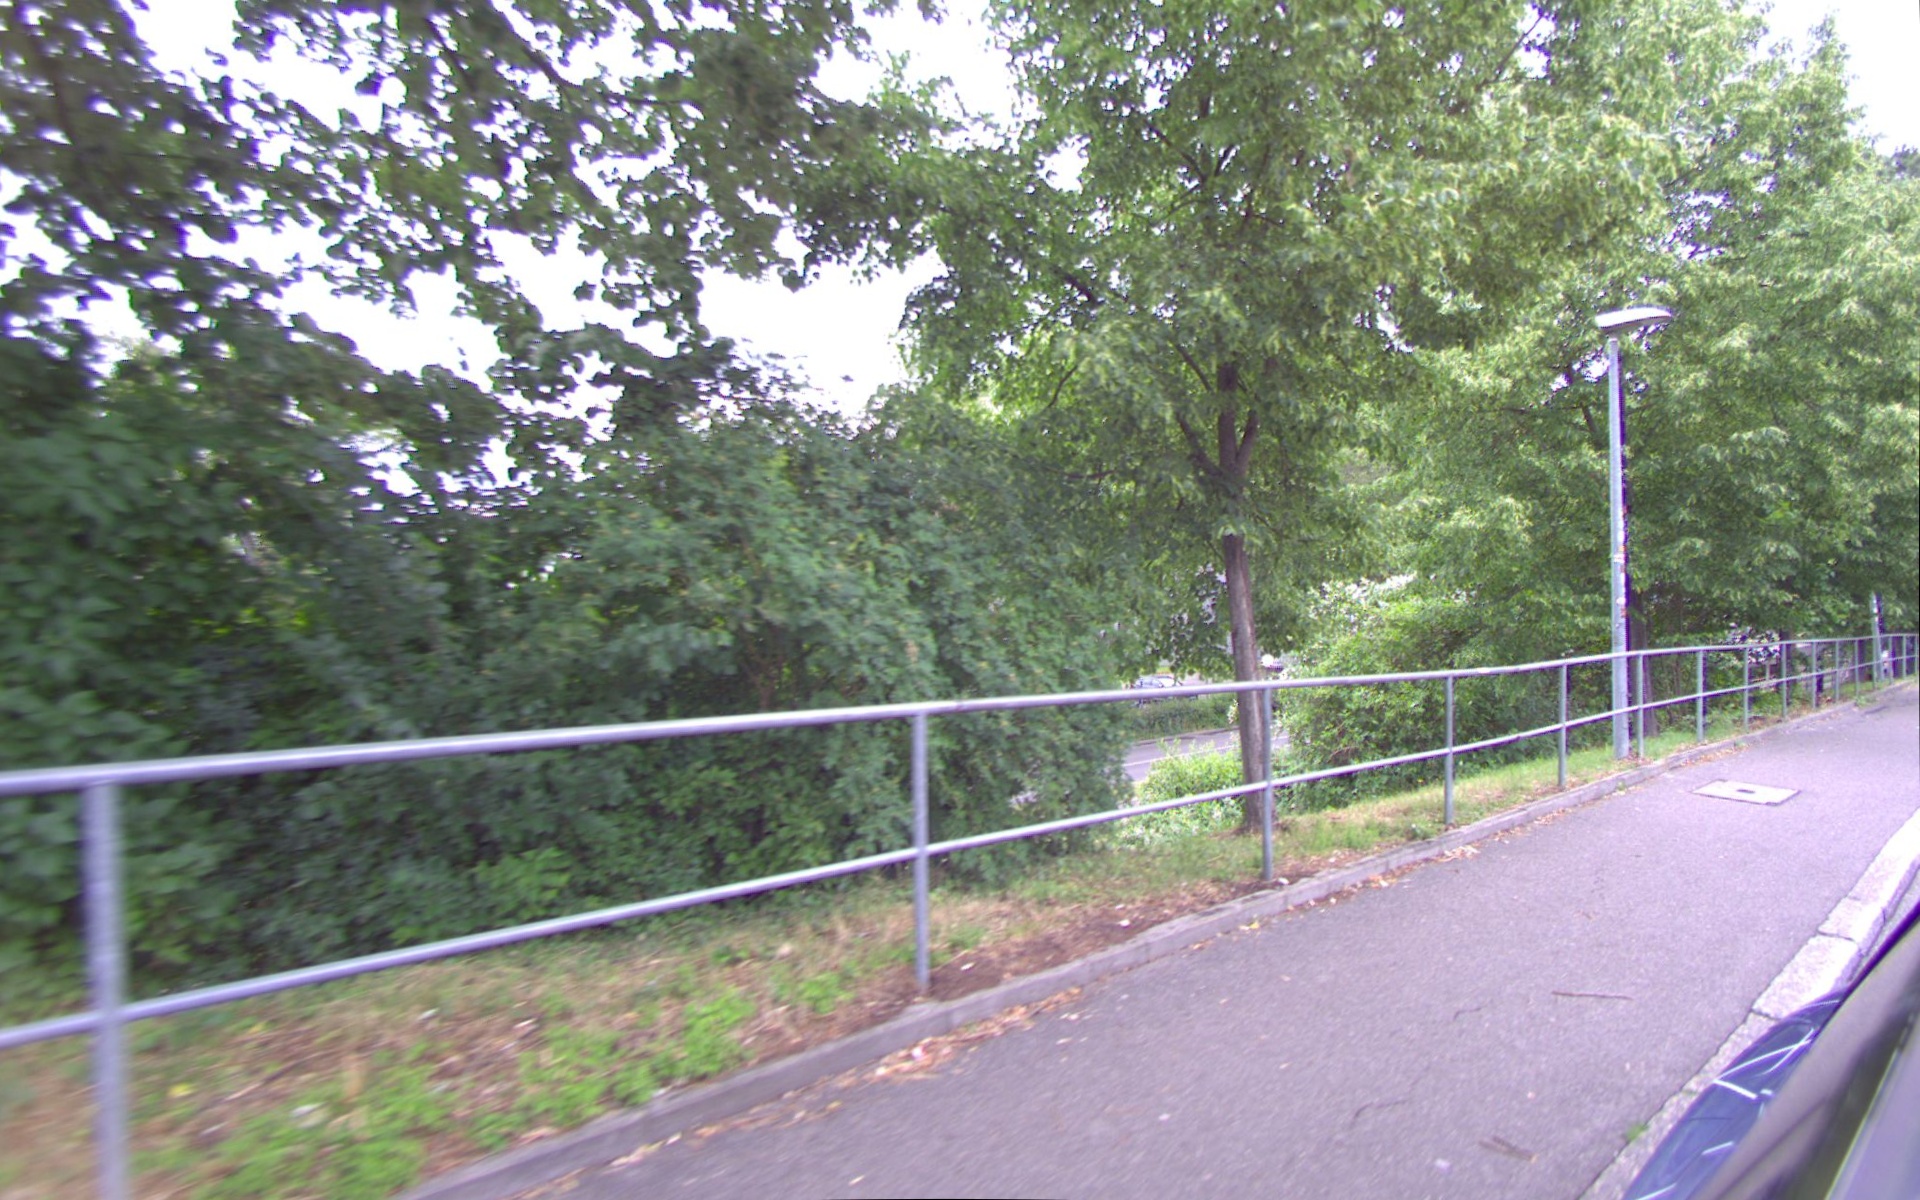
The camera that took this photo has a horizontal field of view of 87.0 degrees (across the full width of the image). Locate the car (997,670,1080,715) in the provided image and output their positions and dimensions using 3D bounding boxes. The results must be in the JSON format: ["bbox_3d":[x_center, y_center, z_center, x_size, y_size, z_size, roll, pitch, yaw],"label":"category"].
[{"bbox_3d":[3.987,4.730,52.280,1.960,1.814,4.585,0,0,-31],"label":"car"}]

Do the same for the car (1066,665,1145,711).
[{"bbox_3d":[7.751,4.667,54.230,1.963,2.039,3.997,0,0,-38],"label":"car"}]
